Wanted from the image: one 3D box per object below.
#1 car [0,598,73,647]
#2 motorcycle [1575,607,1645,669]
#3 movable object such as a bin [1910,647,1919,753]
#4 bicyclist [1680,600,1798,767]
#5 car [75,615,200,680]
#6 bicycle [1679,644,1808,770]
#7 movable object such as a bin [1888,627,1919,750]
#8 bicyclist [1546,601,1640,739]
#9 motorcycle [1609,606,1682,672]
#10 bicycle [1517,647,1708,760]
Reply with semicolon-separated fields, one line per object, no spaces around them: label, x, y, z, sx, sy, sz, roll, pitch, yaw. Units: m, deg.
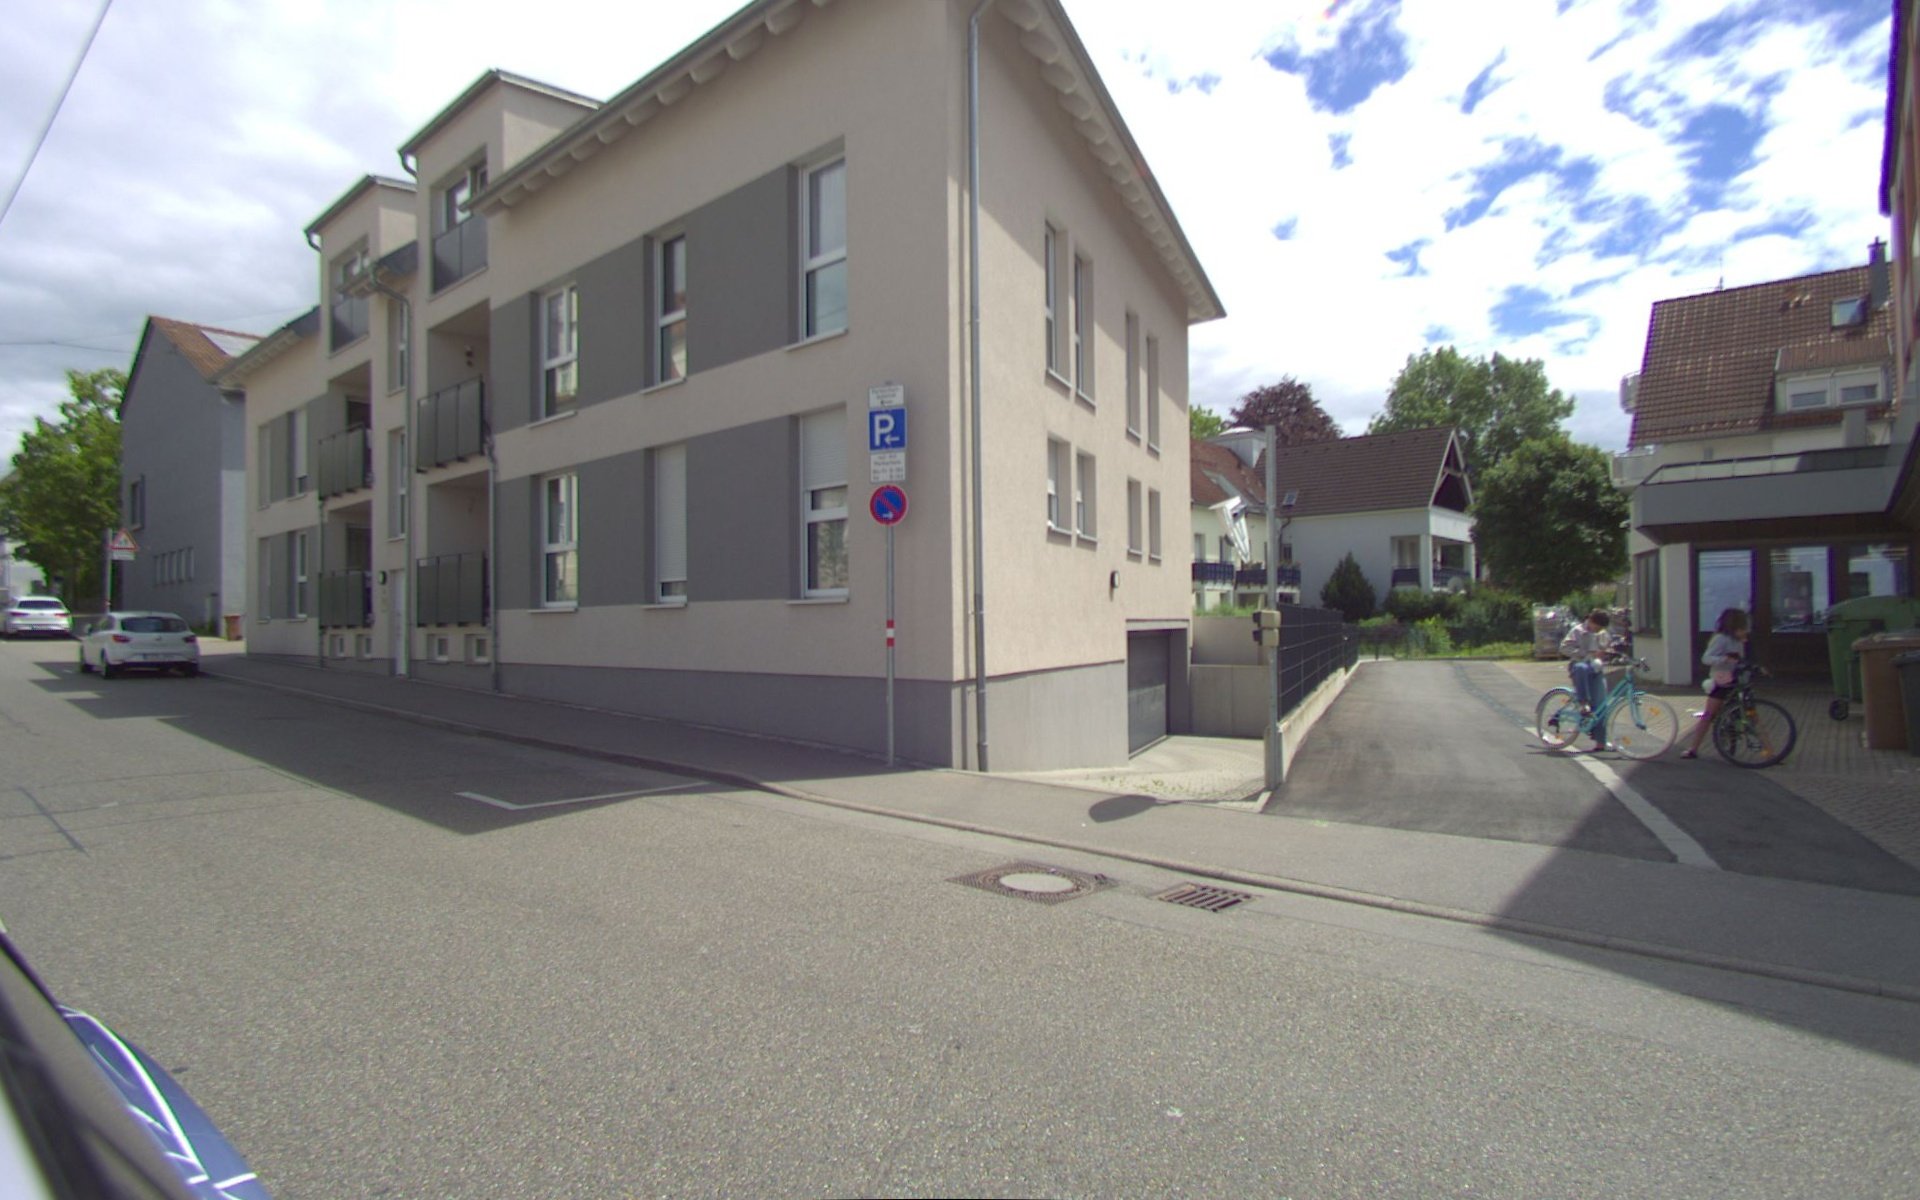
car;-31.895;0.737;34.678;4.066;1.499;1.714;1;-1;42
motorcycle;17.153;0.957;26.642;0.860;1.530;3.567;-2;-2;44
movable object such as a bin;8.501;0.863;8.676;0.443;0.918;0.403;-5;-3;41
bicyclist;6.712;0.708;8.736;0.580;1.376;0.425;-2;-3;-2
car;-18.483;1.020;22.700;3.472;1.340;1.644;-1;-2;42
bicycle;6.872;0.897;8.950;0.552;0.961;1.676;-3;-2;27
movable object such as a bin;8.948;0.782;9.149;0.737;1.073;0.677;-5;-3;41
bicyclist;5.963;0.640;9.545;0.631;1.251;0.428;0;0;-16
motorcycle;17.047;0.926;25.107;0.860;1.530;3.748;-2;-2;44
bicycle;6.016;0.918;9.439;0.451;0.924;1.593;-1;-2;-13
